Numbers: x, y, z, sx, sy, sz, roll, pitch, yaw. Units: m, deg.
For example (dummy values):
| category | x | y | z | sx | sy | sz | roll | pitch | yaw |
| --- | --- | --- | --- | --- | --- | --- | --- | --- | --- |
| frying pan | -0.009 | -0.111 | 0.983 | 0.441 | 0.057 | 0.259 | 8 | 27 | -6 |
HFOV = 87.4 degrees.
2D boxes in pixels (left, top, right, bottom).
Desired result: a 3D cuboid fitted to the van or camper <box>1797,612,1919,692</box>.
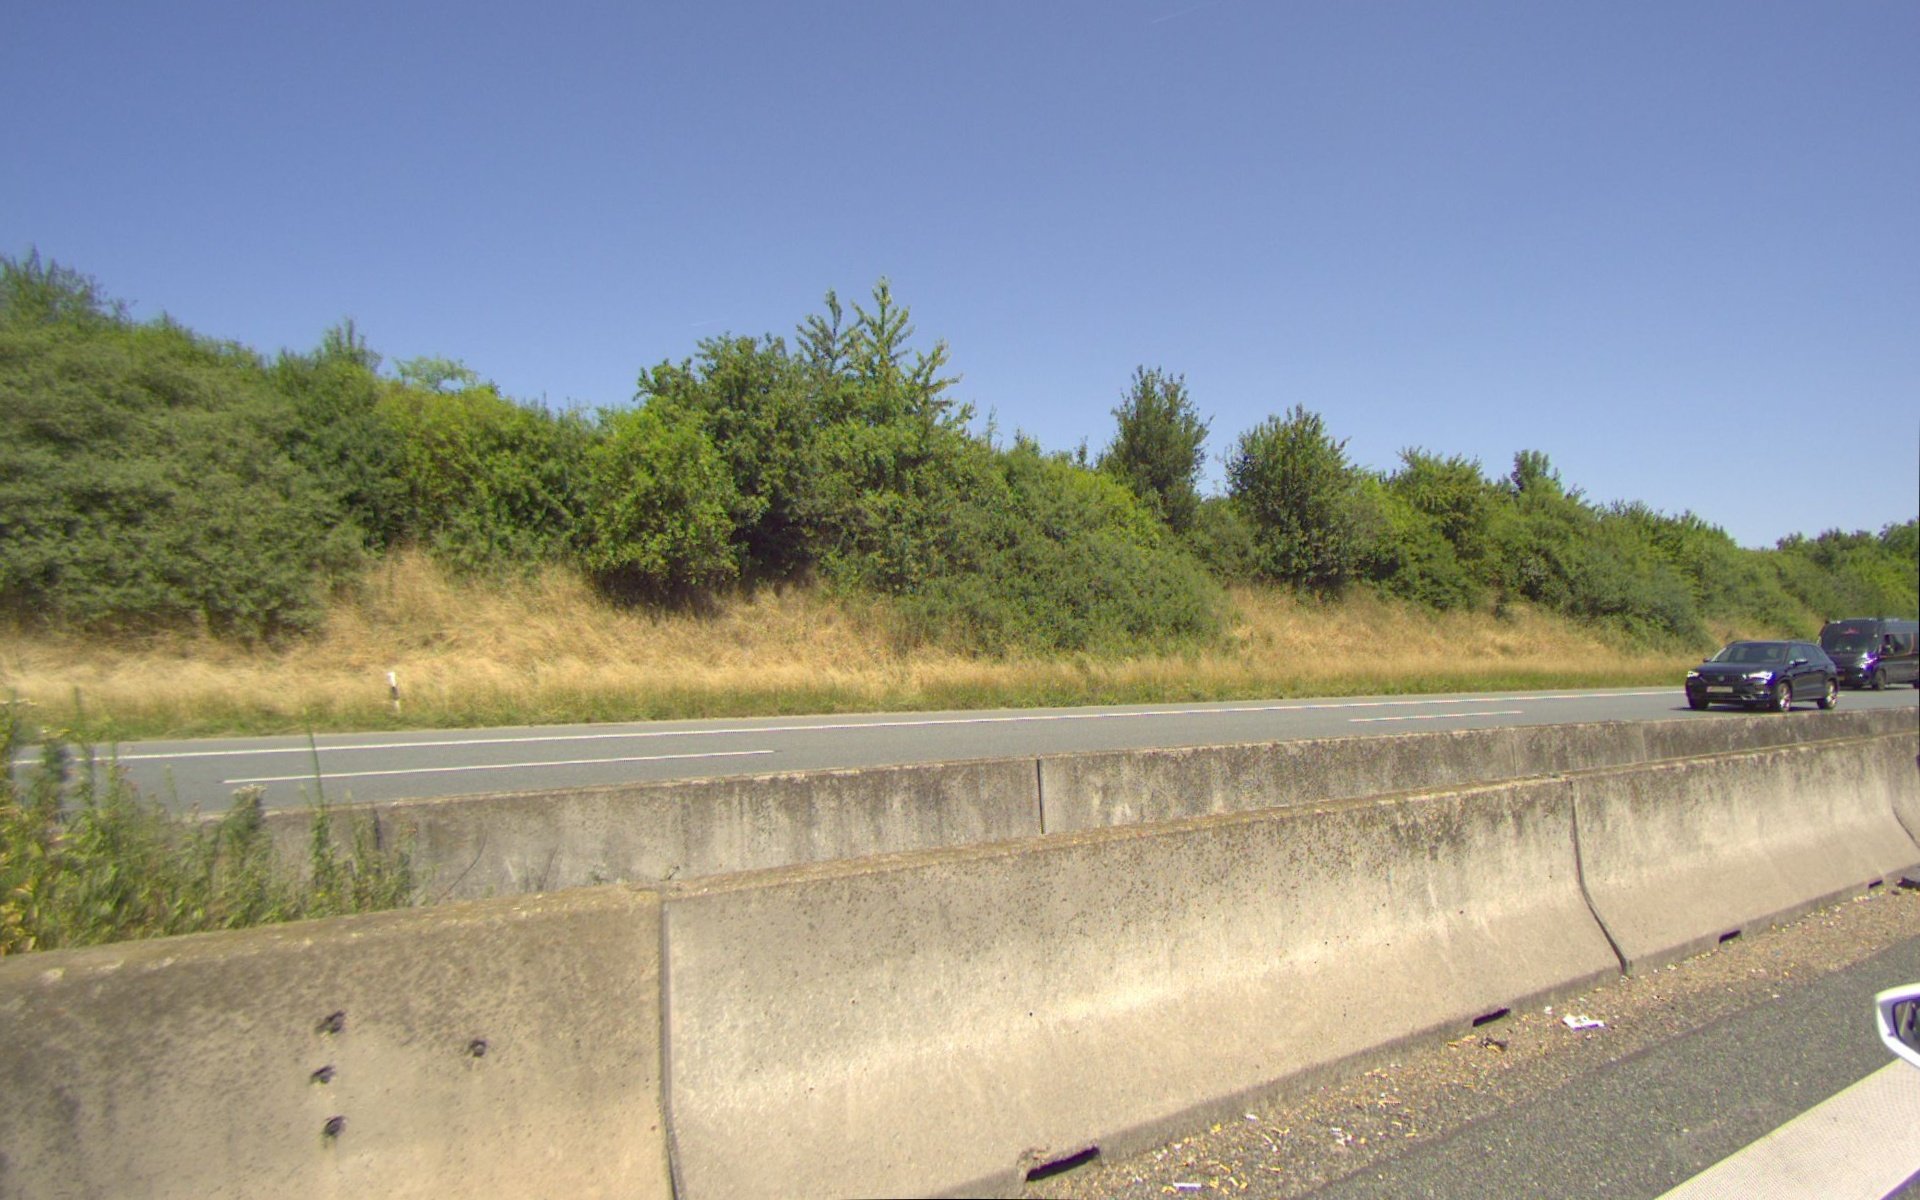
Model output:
| category | x | y | z | sx | sy | sz | roll | pitch | yaw |
| --- | --- | --- | --- | --- | --- | --- | --- | --- | --- |
| van or camper | 33.785 | 1.933 | 37.180 | 7.003 | 2.746 | 2.211 | 2 | -4 | -32 |

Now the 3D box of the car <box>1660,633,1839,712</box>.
| category | x | y | z | sx | sy | sz | roll | pitch | yaw |
| --- | --- | --- | --- | --- | --- | --- | --- | --- | --- |
| car | 18.561 | 1.661 | 23.594 | 4.106 | 1.706 | 1.984 | 2 | -3 | -32 |
